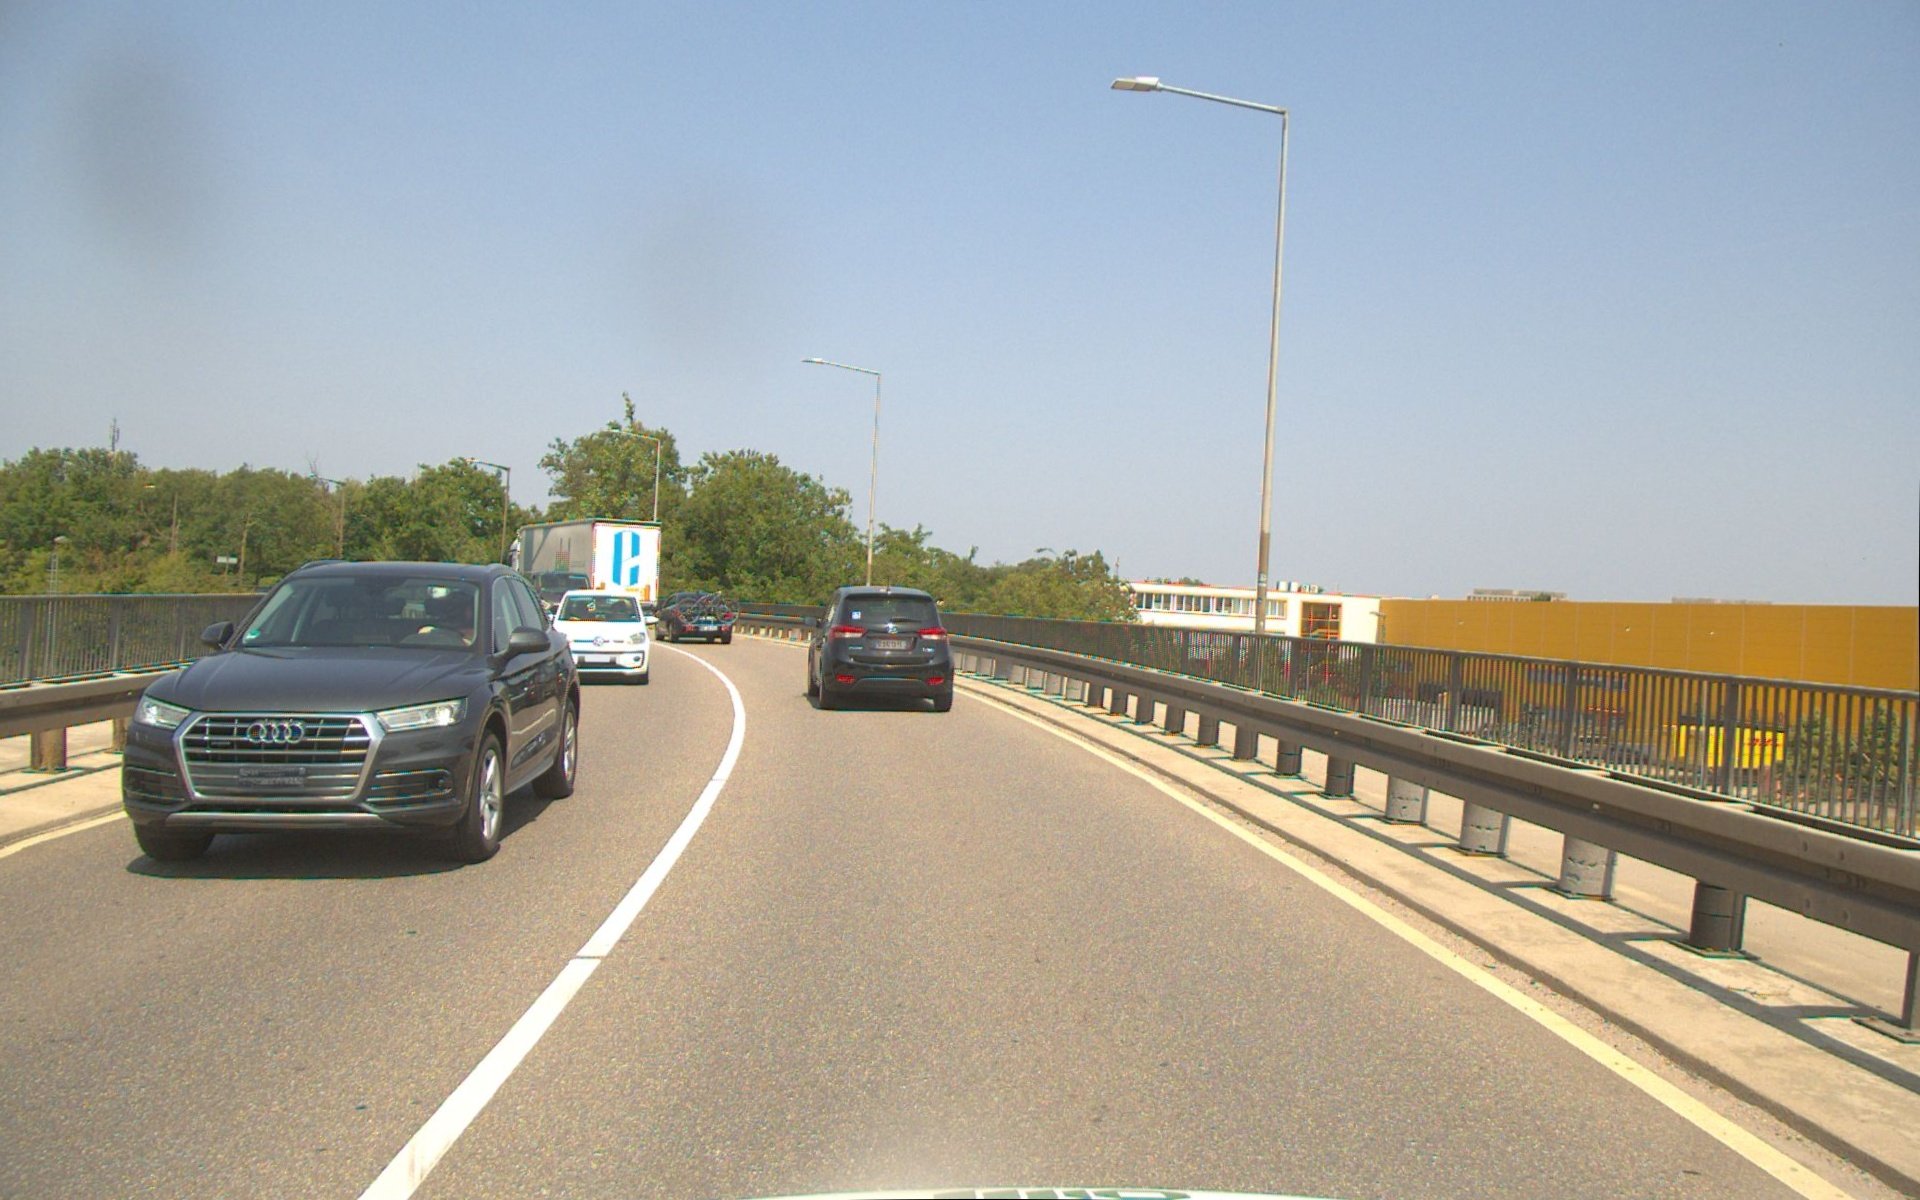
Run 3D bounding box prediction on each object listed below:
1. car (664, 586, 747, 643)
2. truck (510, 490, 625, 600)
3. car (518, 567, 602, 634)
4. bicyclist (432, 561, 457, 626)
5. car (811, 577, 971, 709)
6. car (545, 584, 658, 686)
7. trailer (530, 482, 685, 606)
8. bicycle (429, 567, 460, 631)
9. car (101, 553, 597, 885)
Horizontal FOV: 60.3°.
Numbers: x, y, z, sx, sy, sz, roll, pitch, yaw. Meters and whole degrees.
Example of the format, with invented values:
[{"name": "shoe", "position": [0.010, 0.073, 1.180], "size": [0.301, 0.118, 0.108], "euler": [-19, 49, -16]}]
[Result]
[{"name": "car", "position": [-7.234, 0.392, 46.719], "size": [1.977, 1.454, 3.763], "euler": [2, 1, -14]}, {"name": "truck", "position": [-17.263, -2.367, 72.429], "size": [3.528, 4.518, 6.463], "euler": [1, 1, -26]}, {"name": "car", "position": [-12.757, 0.034, 52.509], "size": [1.977, 1.993, 5.239], "euler": [1, 0, -20]}, {"name": "bicyclist", "position": [-15.433, -0.210, 49.523], "size": [0.615, 1.919, 0.708], "euler": [1, 0, -21]}, {"name": "car", "position": [-1.033, 0.519, 22.760], "size": [1.885, 1.601, 3.886], "euler": [2, 1, -7]}, {"name": "car", "position": [-5.827, 0.527, 27.144], "size": [1.634, 1.489, 3.478], "euler": [2, 1, -10]}, {"name": "trailer", "position": [-14.383, -2.203, 66.466], "size": [3.525, 4.460, 11.349], "euler": [1, 1, -25]}, {"name": "bicycle", "position": [-15.479, -0.045, 49.623], "size": [0.688, 1.833, 2.167], "euler": [1, 1, -22]}, {"name": "car", "position": [-3.540, 0.575, 10.464], "size": [1.805, 1.664, 4.230], "euler": [1, 1, -4]}]
